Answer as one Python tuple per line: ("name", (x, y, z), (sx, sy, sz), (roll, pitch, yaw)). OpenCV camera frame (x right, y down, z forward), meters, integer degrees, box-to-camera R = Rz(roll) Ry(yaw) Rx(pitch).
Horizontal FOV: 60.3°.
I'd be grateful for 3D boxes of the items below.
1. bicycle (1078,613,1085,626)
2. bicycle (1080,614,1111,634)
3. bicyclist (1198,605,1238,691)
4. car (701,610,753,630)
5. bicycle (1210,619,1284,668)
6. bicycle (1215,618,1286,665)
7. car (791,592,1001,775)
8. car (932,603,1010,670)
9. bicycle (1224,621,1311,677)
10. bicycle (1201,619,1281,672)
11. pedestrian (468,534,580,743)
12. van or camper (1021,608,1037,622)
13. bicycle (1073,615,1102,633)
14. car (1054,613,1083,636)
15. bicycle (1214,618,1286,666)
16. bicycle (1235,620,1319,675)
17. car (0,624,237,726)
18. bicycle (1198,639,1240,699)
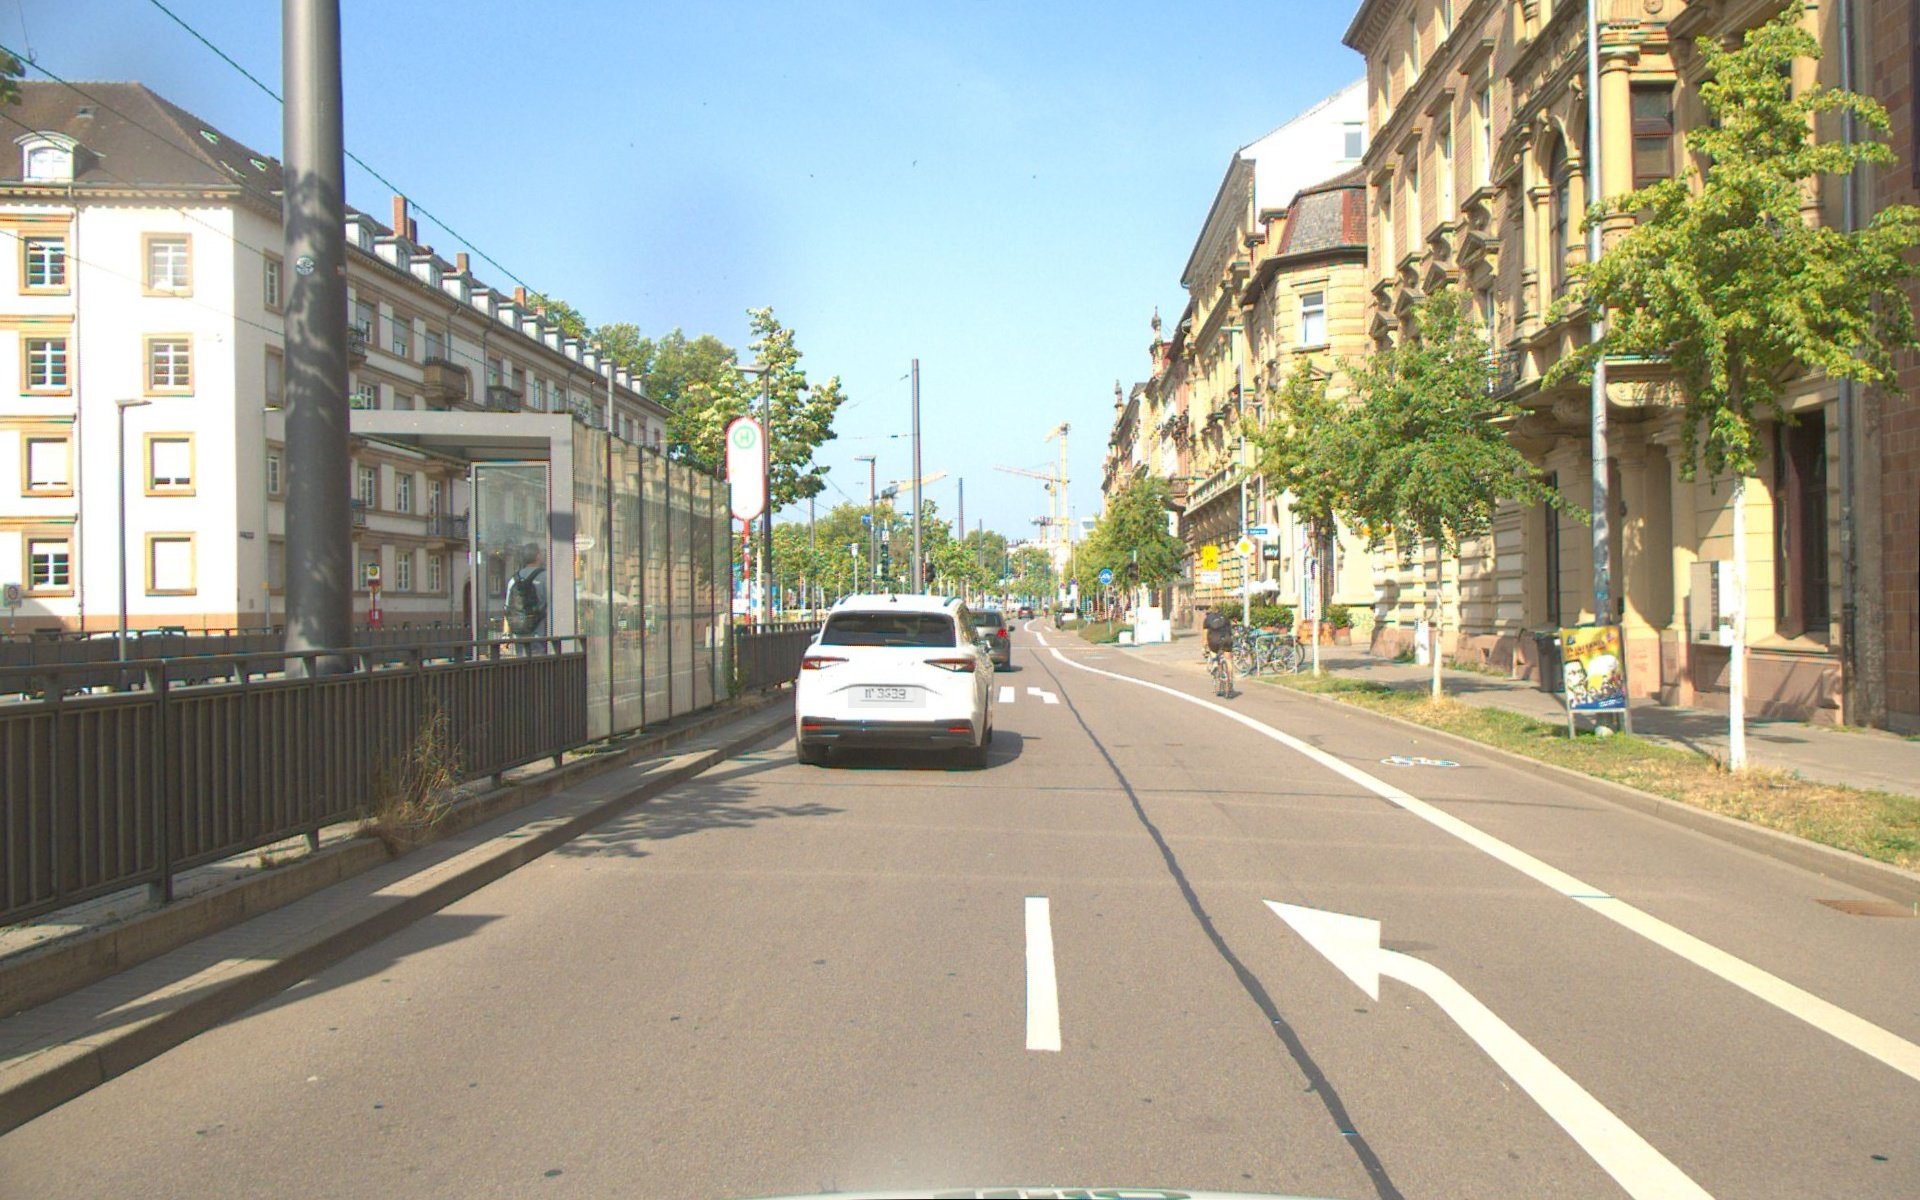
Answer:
("bicycle", (10.580, 1.709, 144.041), (0.482, 1.113, 1.827), (-1, 0, 3))
("bicycle", (8.192, 1.458, 100.016), (1.771, 1.115, 0.671), (-2, 0, -3))
("bicyclist", (4.620, 0.850, 29.635), (0.572, 1.508, 0.931), (0, 1, 0))
("car", (-32.684, 2.817, 231.898), (6.769, 2.685, 2.501), (2, -1, -19))
("bicycle", (7.074, 1.061, 40.788), (1.718, 1.106, 0.669), (-3, 0, 7))
("bicycle", (7.471, 1.076, 42.632), (1.715, 1.106, 0.583), (-3, 0, 5))
("car", (-0.516, 0.754, 16.823), (1.779, 1.618, 4.408), (0, 0, 2))
("car", (0.311, 0.843, 39.435), (1.717, 1.510, 4.408), (0, 0, 2))
("bicycle", (6.774, 1.072, 36.515), (1.722, 1.106, 0.610), (-4, -1, -7))
("bicycle", (6.675, 1.074, 39.273), (1.730, 1.106, 0.668), (-4, -1, -21))
("pedestrian", (-4.424, 0.386, 16.864), (0.816, 2.049, 1.028), (2, -1, -1))
("van or camper", (8.561, 1.843, 205.131), (1.952, 1.684, 4.001), (-1, -1, 2))
("bicycle", (7.813, 1.464, 101.267), (1.748, 1.072, 0.373), (-2, 0, 1))
("car", (8.041, 1.811, 122.897), (1.733, 1.616, 4.247), (-2, 0, -1))
("bicycle", (7.370, 1.065, 42.034), (1.715, 1.106, 0.583), (-3, 0, 5))
("bicycle", (7.283, 1.086, 38.065), (1.722, 1.106, 0.657), (-4, -1, -7))
("car", (-17.005, 1.453, 33.666), (1.951, 1.837, 4.636), (-2, 0, 9))
("bicycle", (4.636, 1.224, 29.679), (0.495, 0.970, 1.785), (0, 1, 0))
